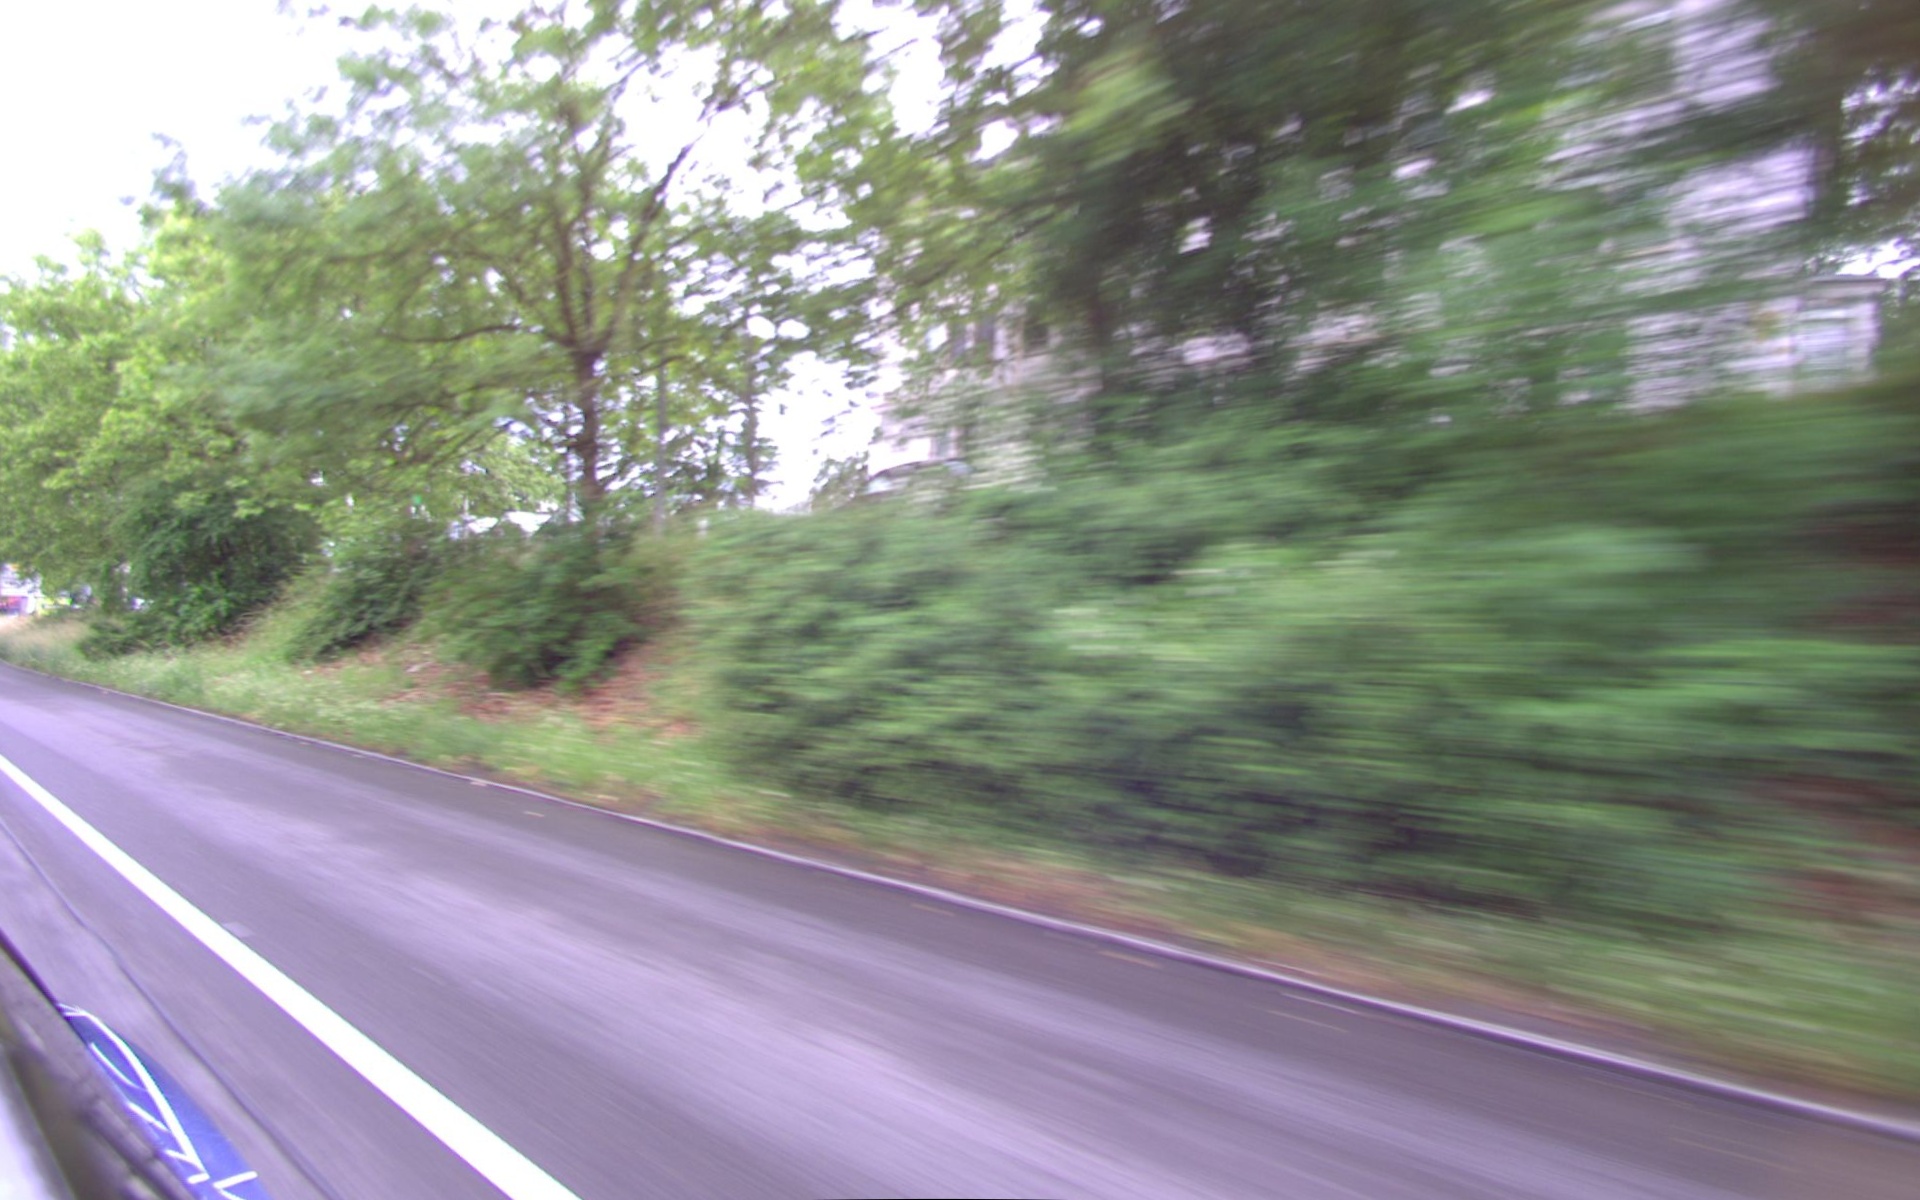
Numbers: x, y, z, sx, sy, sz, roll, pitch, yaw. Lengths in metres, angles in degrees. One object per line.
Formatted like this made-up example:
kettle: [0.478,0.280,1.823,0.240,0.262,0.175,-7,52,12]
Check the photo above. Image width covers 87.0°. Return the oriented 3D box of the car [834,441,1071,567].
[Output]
car: [-0.202,-1.613,18.326,3.998,1.858,1.973,-1,0,41]
